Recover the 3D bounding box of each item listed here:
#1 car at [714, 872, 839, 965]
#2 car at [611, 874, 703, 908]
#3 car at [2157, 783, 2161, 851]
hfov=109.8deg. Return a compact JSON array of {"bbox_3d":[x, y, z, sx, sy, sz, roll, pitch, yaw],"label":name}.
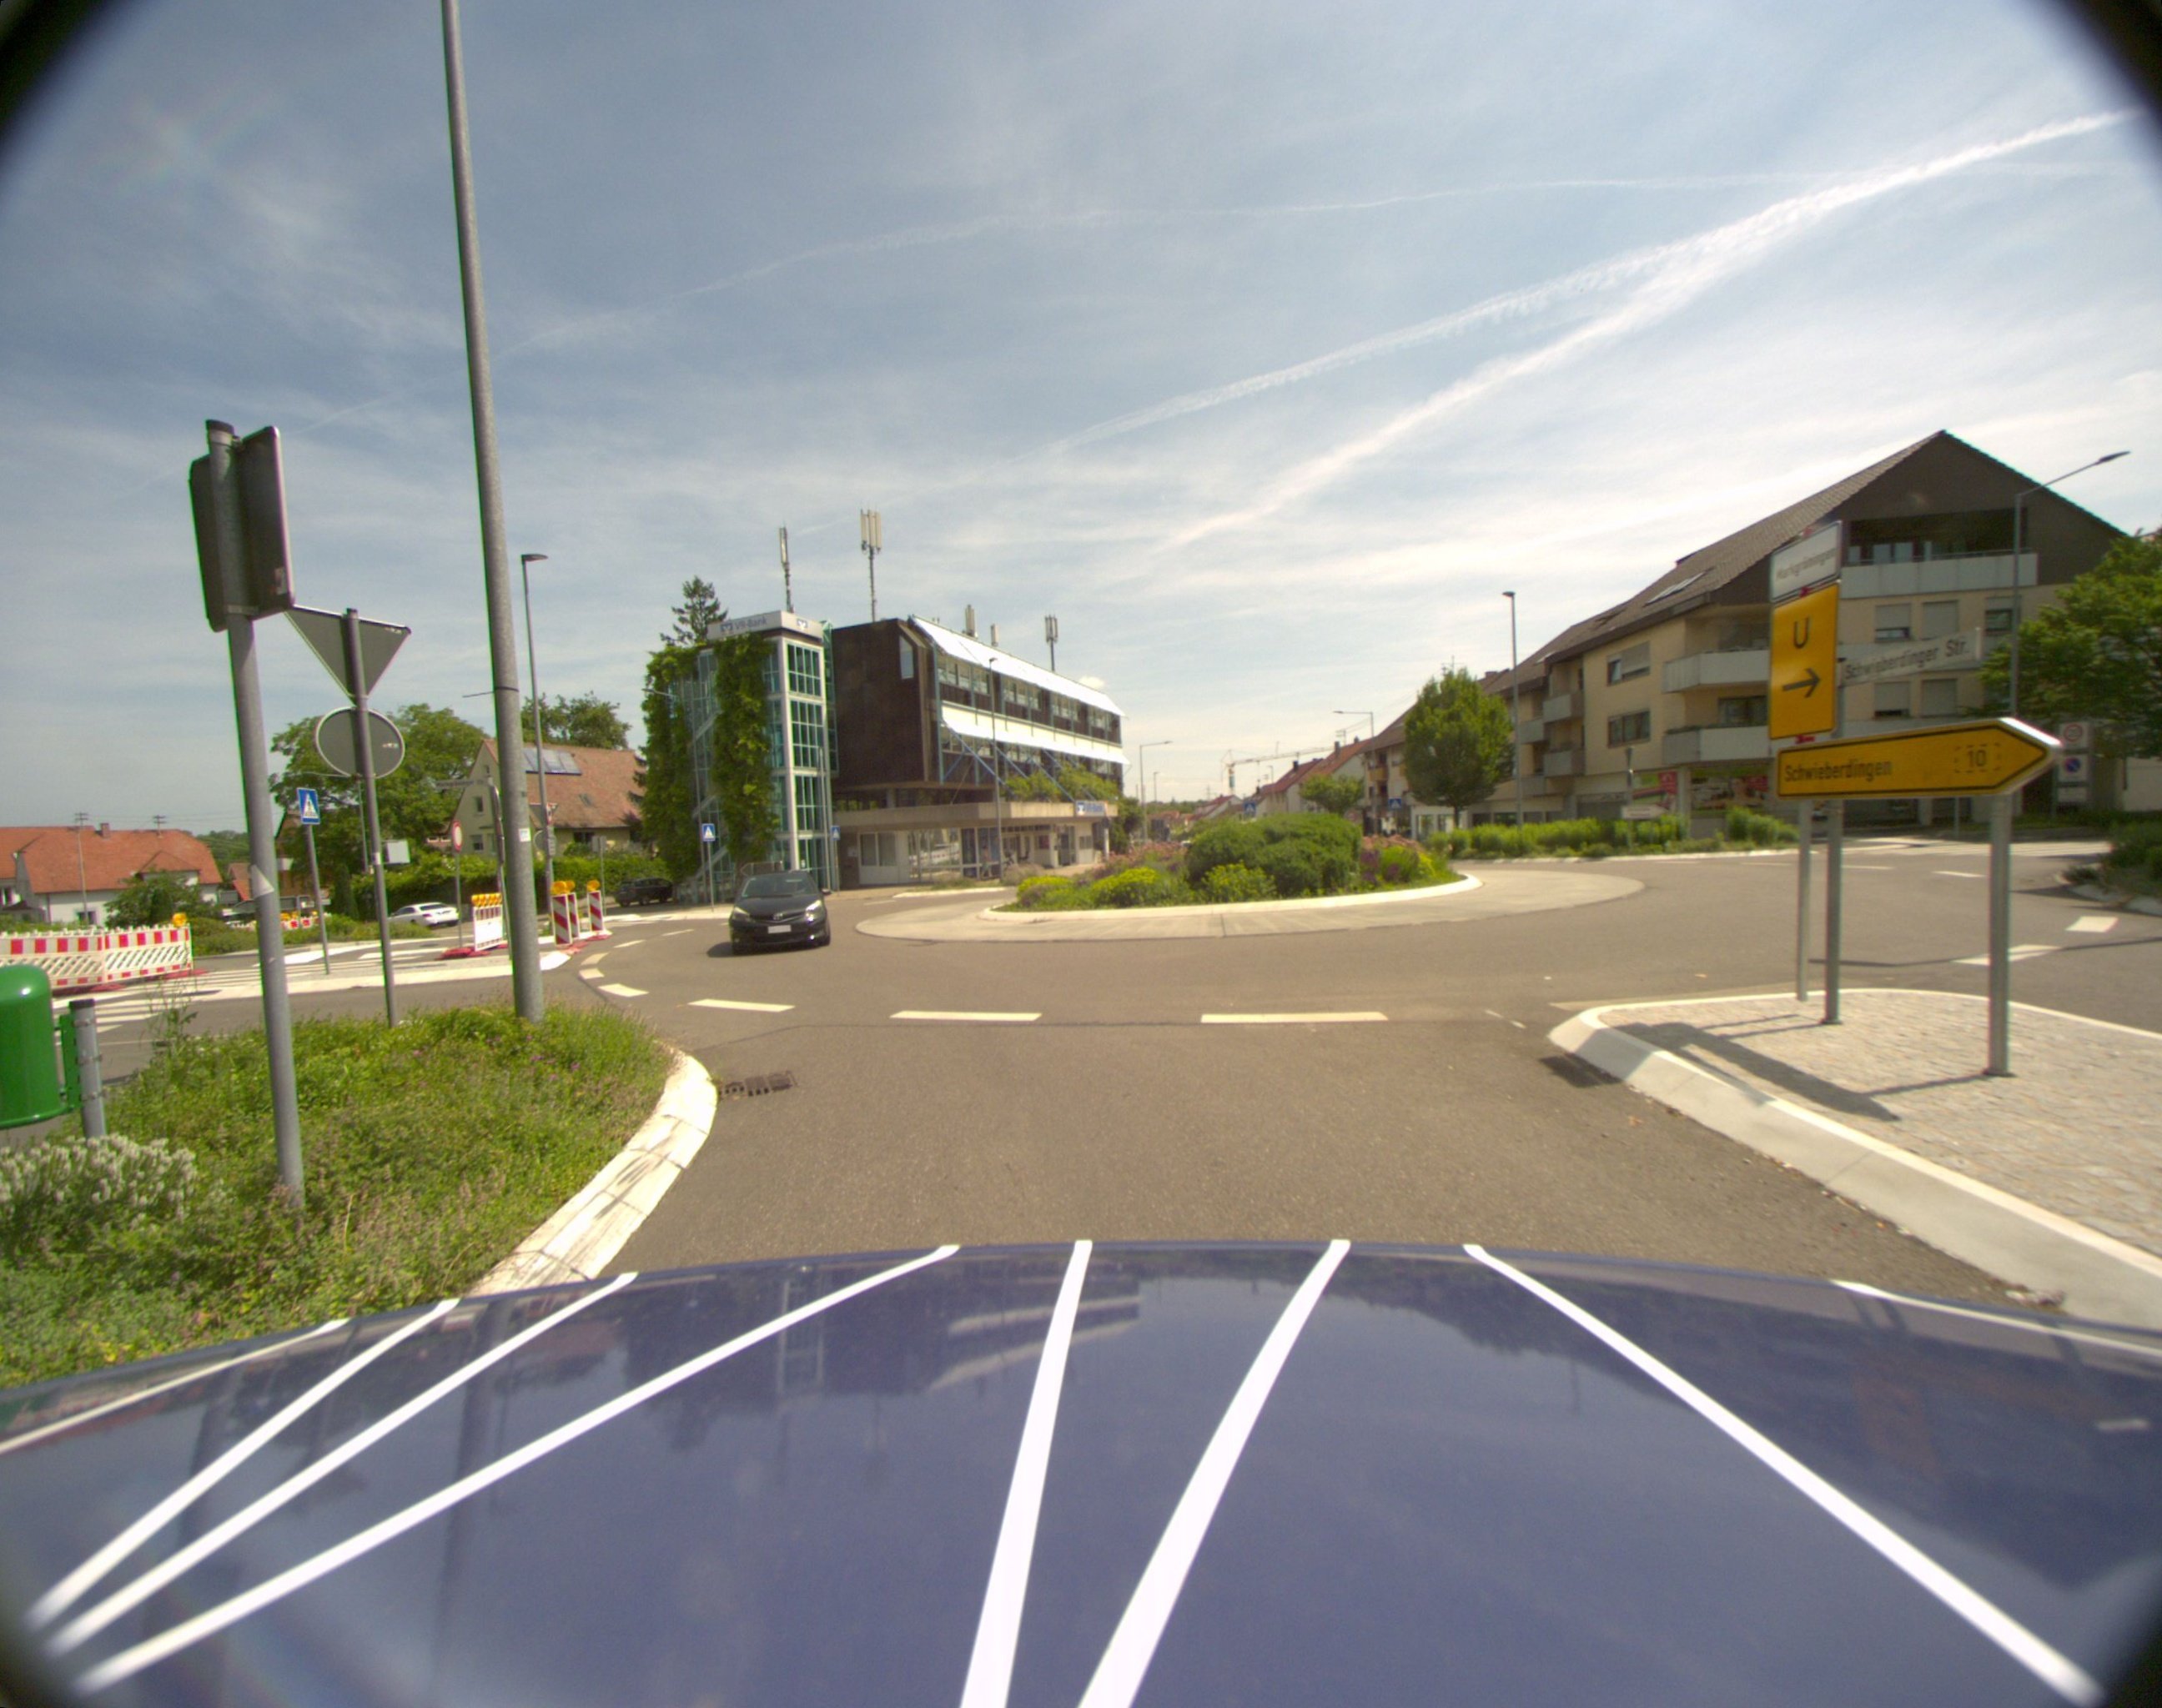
[{"bbox_3d":[-6.182,1.146,15.108,1.729,1.448,4.420,-4,0,-29],"label":"car"},{"bbox_3d":[-24.359,2.085,43.859,1.859,1.429,4.232,-3,3,25],"label":"car"},{"bbox_3d":[27.789,-0.986,17.159,4.219,1.618,1.974,-3,1,-1],"label":"car"}]
